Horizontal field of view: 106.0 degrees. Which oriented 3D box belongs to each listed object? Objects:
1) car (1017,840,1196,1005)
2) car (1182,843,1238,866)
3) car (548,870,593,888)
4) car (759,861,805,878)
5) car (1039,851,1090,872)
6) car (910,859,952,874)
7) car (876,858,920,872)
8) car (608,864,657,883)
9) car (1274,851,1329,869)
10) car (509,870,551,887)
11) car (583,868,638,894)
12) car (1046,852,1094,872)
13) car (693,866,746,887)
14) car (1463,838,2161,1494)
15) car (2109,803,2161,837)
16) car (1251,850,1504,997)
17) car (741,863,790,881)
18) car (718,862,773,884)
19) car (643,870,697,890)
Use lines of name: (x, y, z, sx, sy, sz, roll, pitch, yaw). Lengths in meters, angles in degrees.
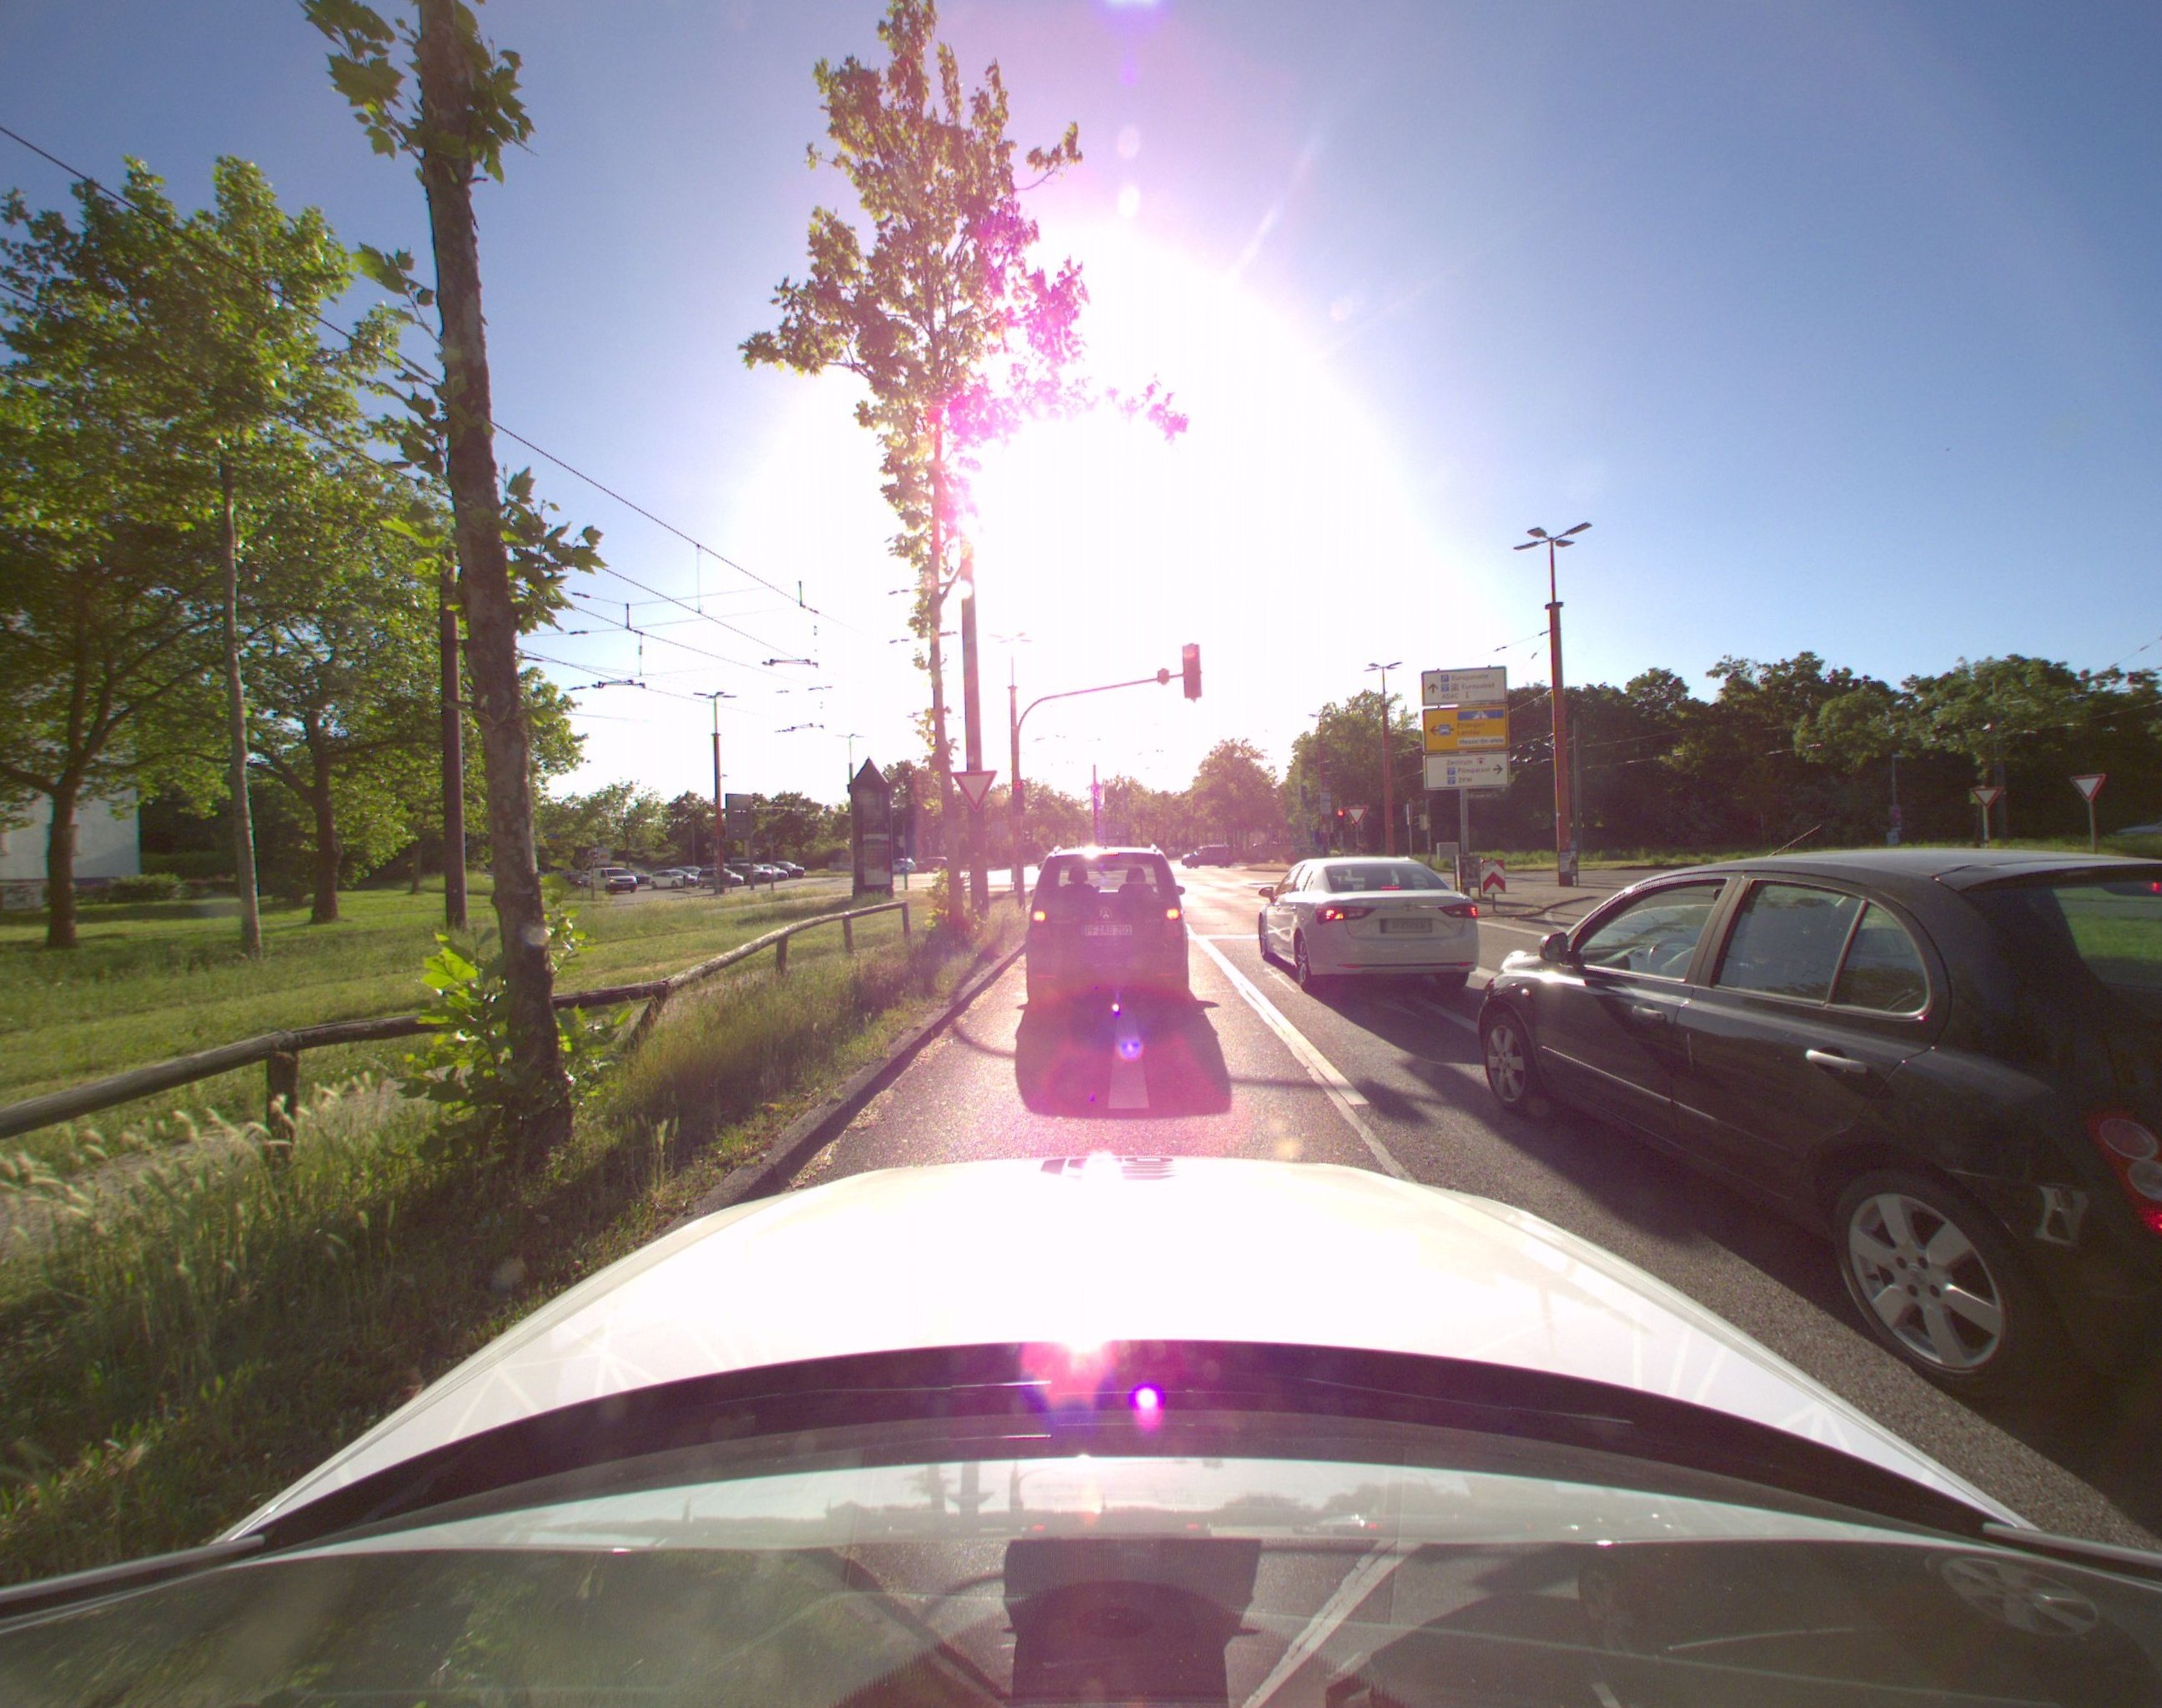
car: (0.362, 0.687, 10.092, 1.731, 1.602, 4.329, 0, -1, 3)
car: (10.524, 0.039, 66.415, 4.081, 1.791, 1.809, -1, 0, 26)
car: (-45.084, 2.220, 71.908, 4.145, 1.520, 1.667, -1, 0, 32)
car: (-26.735, 1.381, 72.819, 4.102, 1.415, 1.553, -1, 0, 28)
car: (-1.455, 0.646, 72.299, 4.081, 1.791, 1.809, -1, 0, 25)
car: (-15.439, 1.264, 84.004, 4.080, 1.471, 1.667, -1, 0, 27)
car: (-18.207, 1.095, 80.985, 4.079, 1.403, 1.667, -1, 0, 29)
car: (-40.460, 1.726, 73.438, 4.583, 1.647, 1.767, -1, 0, 32)
car: (18.024, 0.475, 66.500, 4.080, 1.403, 1.666, -1, 0, 27)
car: (-51.055, 2.258, 75.482, 4.145, 1.520, 1.667, -1, 0, 32)
car: (-34.727, 1.986, 60.057, 4.839, 1.821, 1.845, -1, 0, 39)
car: (-1.019, 0.789, 76.846, 4.080, 1.791, 1.810, -1, 0, 28)
car: (-27.335, 1.694, 61.576, 3.793, 1.441, 1.667, -1, 0, 29)
car: (3.176, 0.693, 3.498, 1.570, 1.440, 3.443, 0, -1, 2)
car: (58.259, -1.824, 43.332, 4.079, 1.750, 1.667, -1, 0, 32)
car: (3.369, 0.707, 10.197, 1.792, 1.440, 4.329, 0, 0, 3)
car: (-26.838, 1.522, 69.195, 4.102, 1.415, 1.553, -1, 0, 28)
car: (-26.931, 1.515, 65.358, 4.583, 1.647, 1.667, -1, 0, 32)
car: (-32.669, 2.073, 64.740, 4.577, 1.520, 1.667, -1, 0, 32)
